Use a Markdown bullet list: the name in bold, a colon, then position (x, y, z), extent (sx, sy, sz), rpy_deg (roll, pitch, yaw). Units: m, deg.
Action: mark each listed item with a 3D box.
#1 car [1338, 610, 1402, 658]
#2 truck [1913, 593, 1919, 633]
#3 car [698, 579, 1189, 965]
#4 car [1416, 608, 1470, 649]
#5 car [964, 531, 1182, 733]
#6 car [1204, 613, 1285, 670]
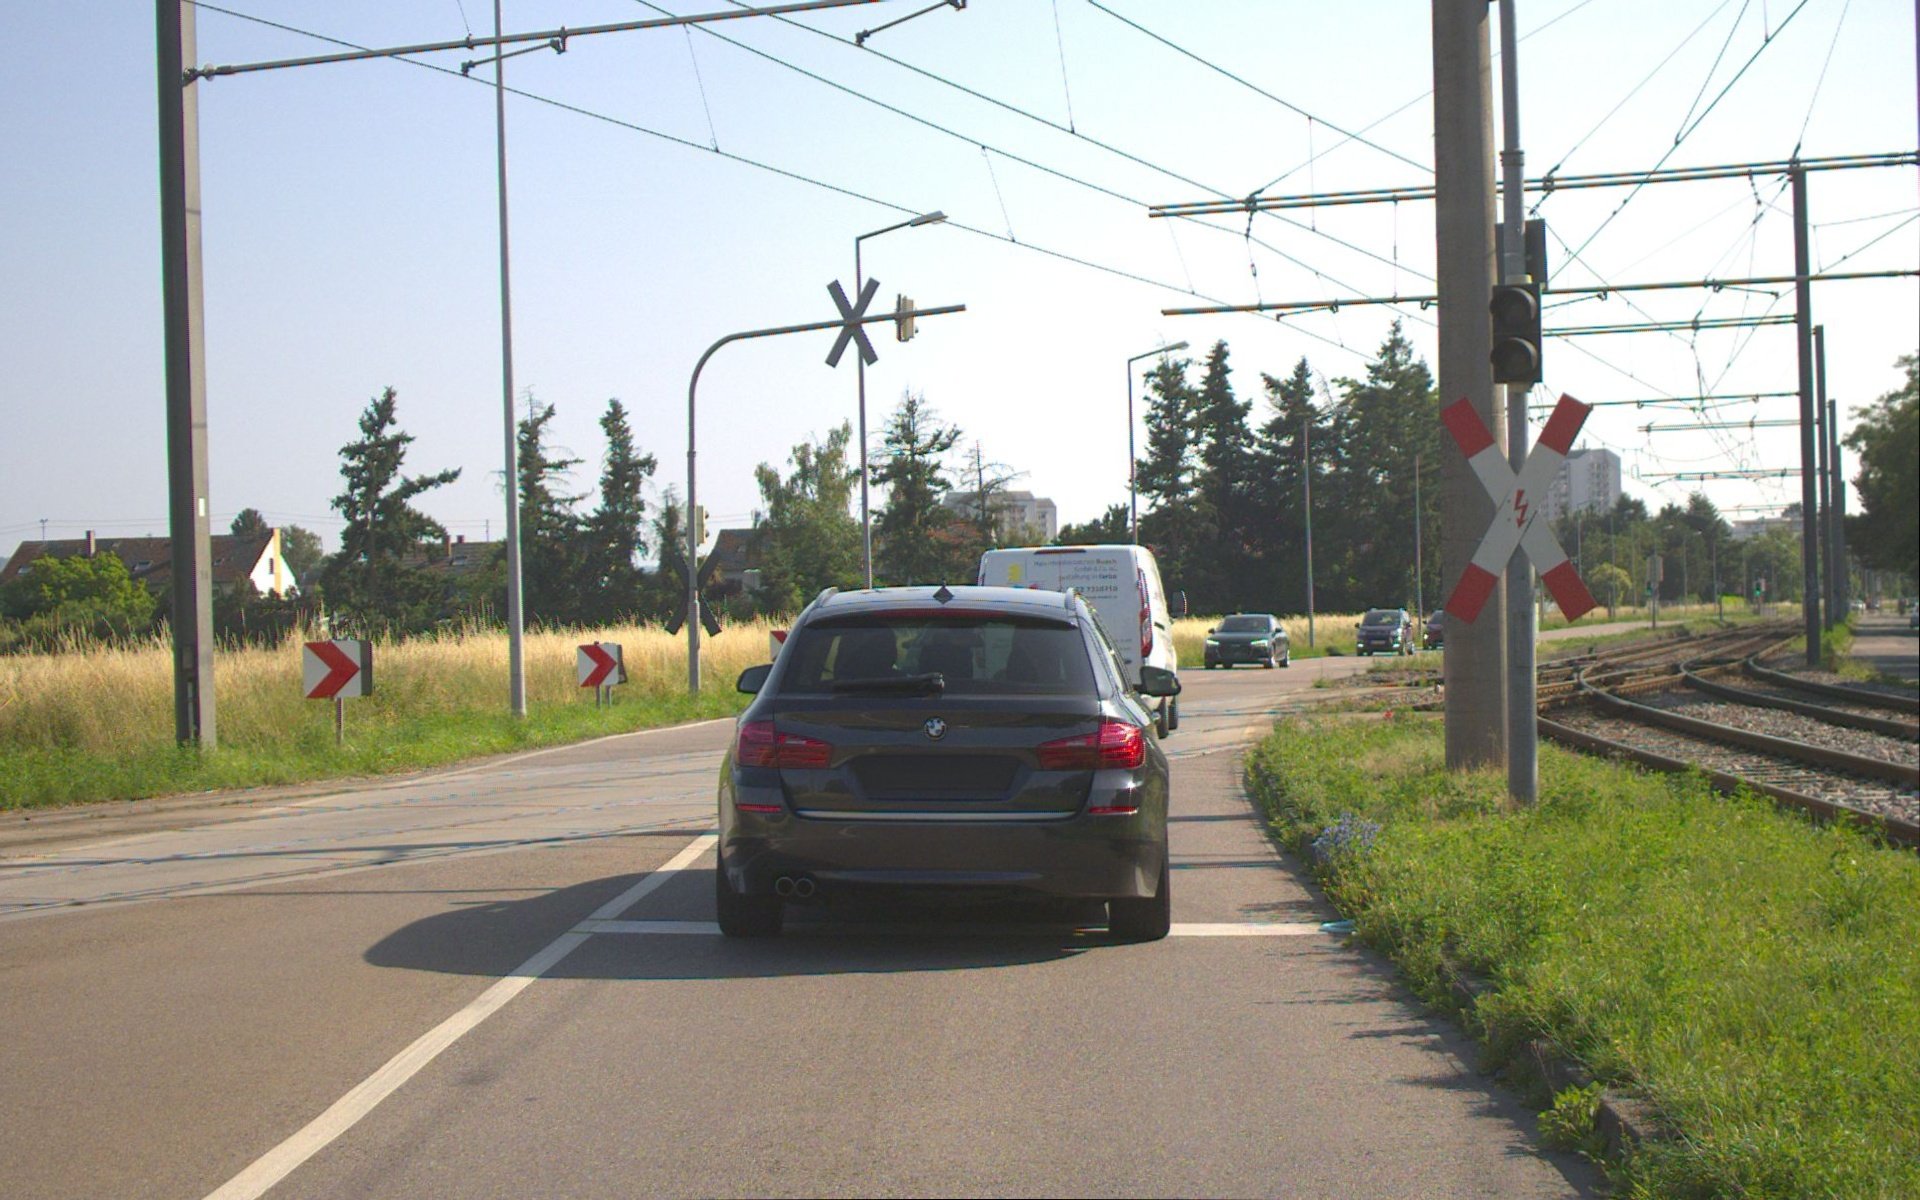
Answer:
- **car**: position (14.627, 1.197, 122.533), extent (1.707, 1.660, 4.587), rpy_deg (0, 0, 14)
- **truck**: position (44.871, 0.592, 157.456), extent (2.206, 1.813, 5.925), rpy_deg (-1, 0, 14)
- **car**: position (-0.074, 0.640, 15.478), extent (1.869, 1.447, 4.744), rpy_deg (0, 1, 0)
- **car**: position (19.161, 1.115, 136.289), extent (1.713, 1.544, 3.926), rpy_deg (0, 0, 13)
- **car**: position (1.271, 0.311, 36.344), extent (1.858, 1.981, 5.106), rpy_deg (0, 0, 7)
- **car**: position (7.596, 1.084, 91.486), extent (1.694, 1.435, 4.281), rpy_deg (0, 0, 11)
